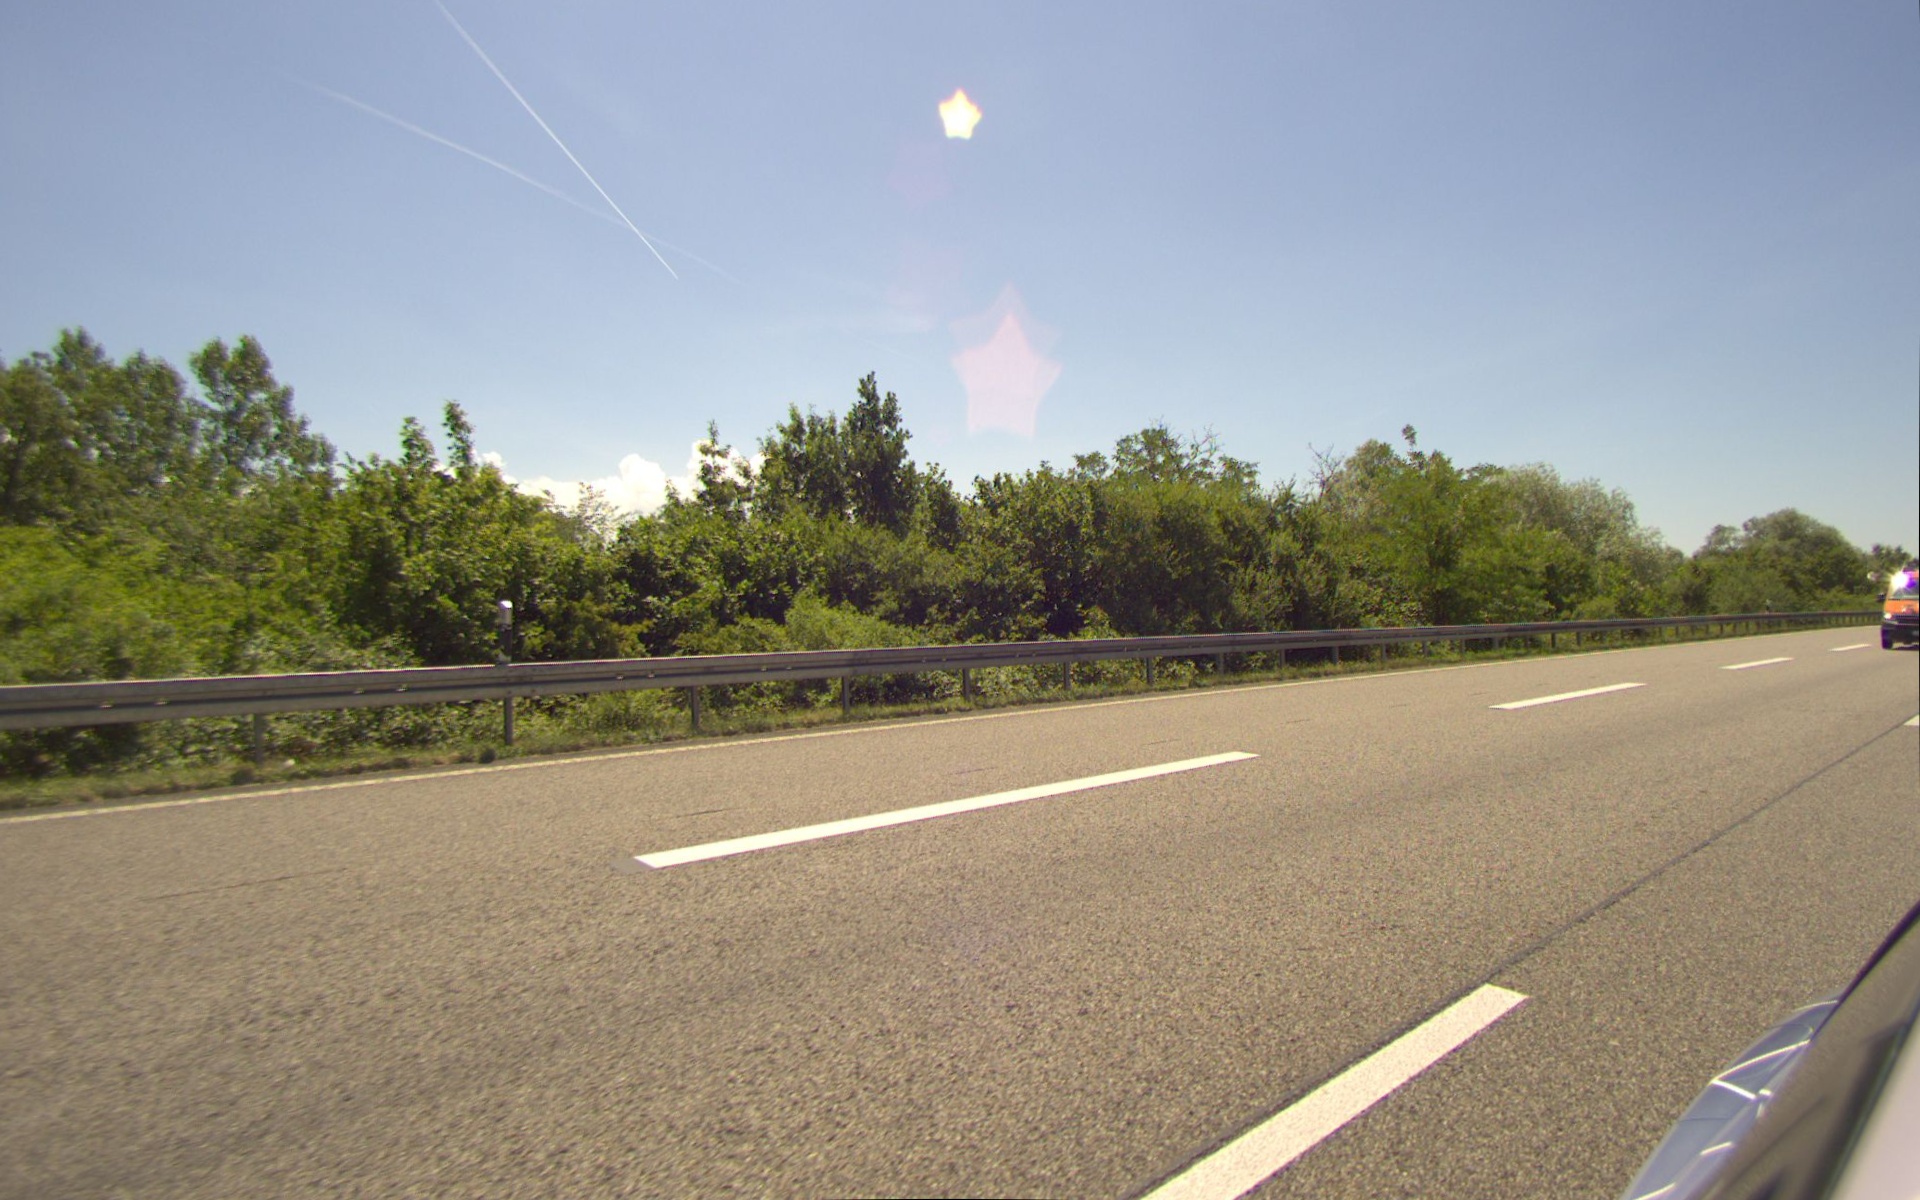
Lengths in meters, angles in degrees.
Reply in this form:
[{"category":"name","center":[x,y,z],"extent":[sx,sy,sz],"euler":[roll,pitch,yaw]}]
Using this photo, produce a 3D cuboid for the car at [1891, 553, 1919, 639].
[{"category":"car","center":[30.109,-0.083,30.493],"extent":[7.095,2.436,1.998],"euler":[0,-1,-39]}]
